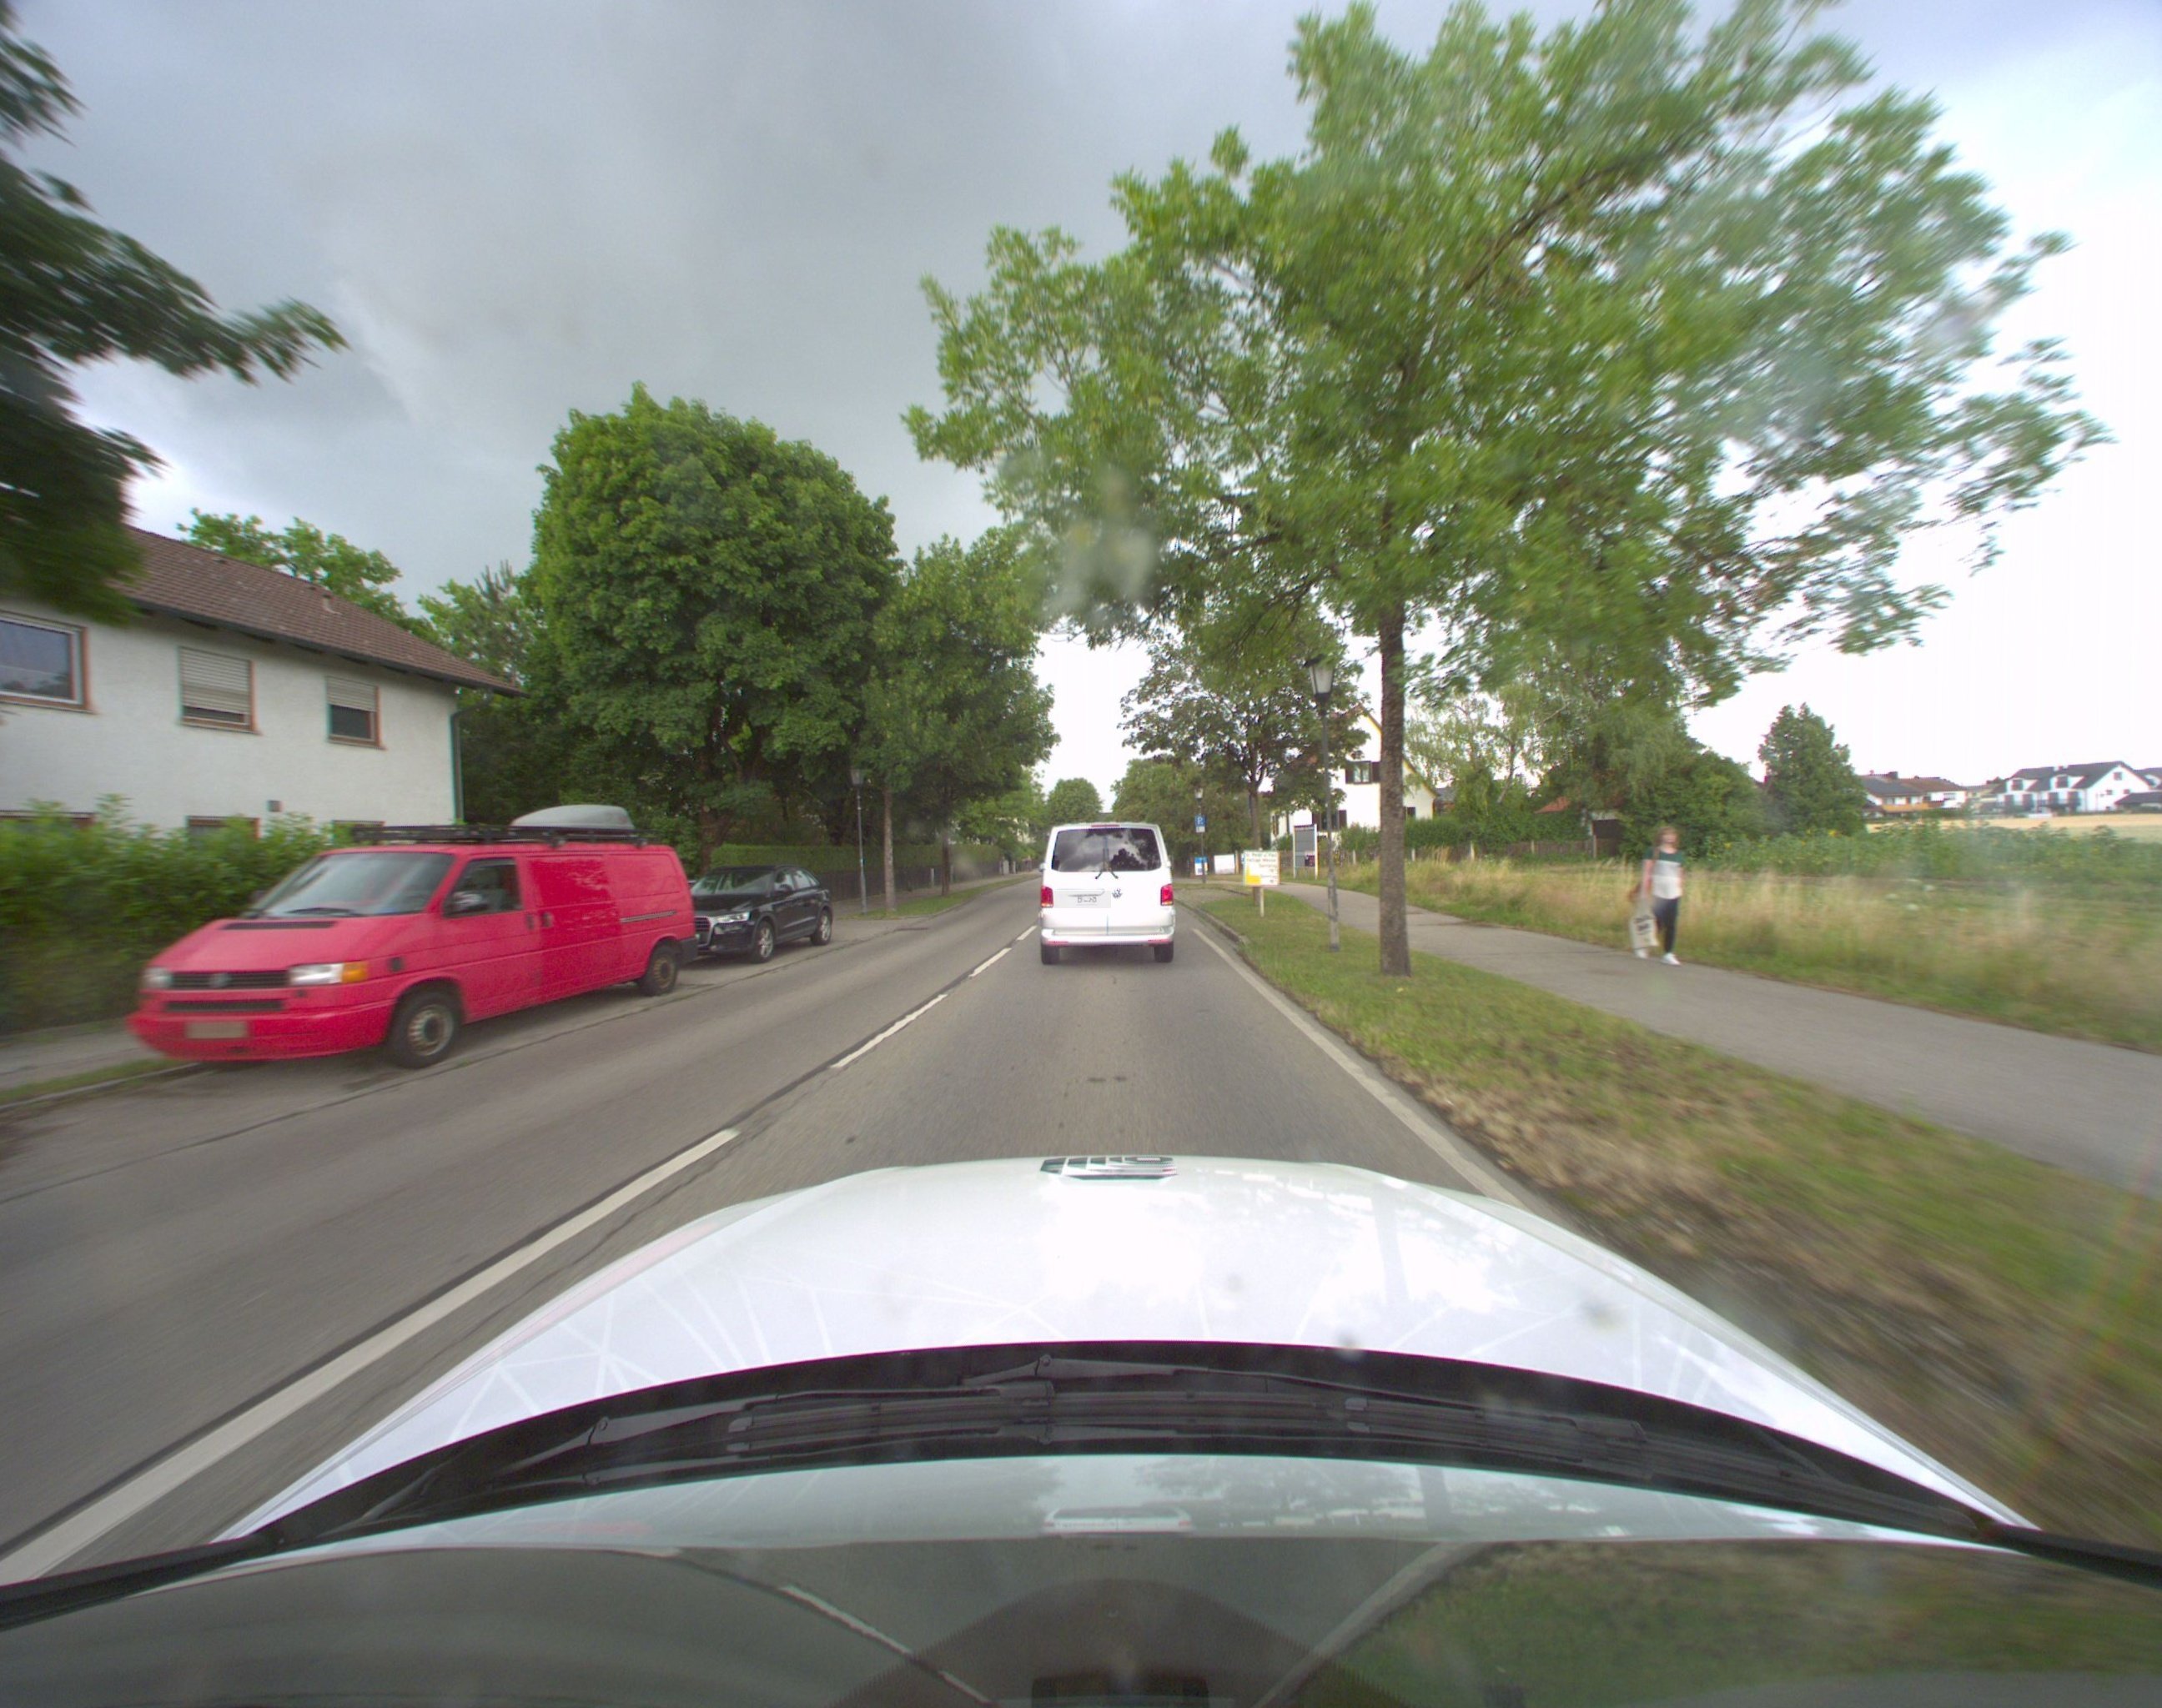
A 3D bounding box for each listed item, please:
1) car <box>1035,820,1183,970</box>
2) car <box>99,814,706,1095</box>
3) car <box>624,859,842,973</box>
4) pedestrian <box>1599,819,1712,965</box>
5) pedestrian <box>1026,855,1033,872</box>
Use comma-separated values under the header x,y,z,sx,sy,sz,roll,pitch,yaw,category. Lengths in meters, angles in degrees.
x,y,z,sx,sy,sz,roll,pitch,yaw,category
0.451,0.536,12.568,1.880,1.912,4.002,-1,0,2,car
-6.120,0.712,8.451,1.822,2.030,5.051,0,0,4,car
-5.796,0.938,14.219,1.764,1.598,4.242,-1,0,3,car
7.270,0.466,10.350,0.833,1.755,0.871,-1,0,7,pedestrian
-4.761,0.841,75.058,0.620,1.549,0.522,0,-1,-1,pedestrian
